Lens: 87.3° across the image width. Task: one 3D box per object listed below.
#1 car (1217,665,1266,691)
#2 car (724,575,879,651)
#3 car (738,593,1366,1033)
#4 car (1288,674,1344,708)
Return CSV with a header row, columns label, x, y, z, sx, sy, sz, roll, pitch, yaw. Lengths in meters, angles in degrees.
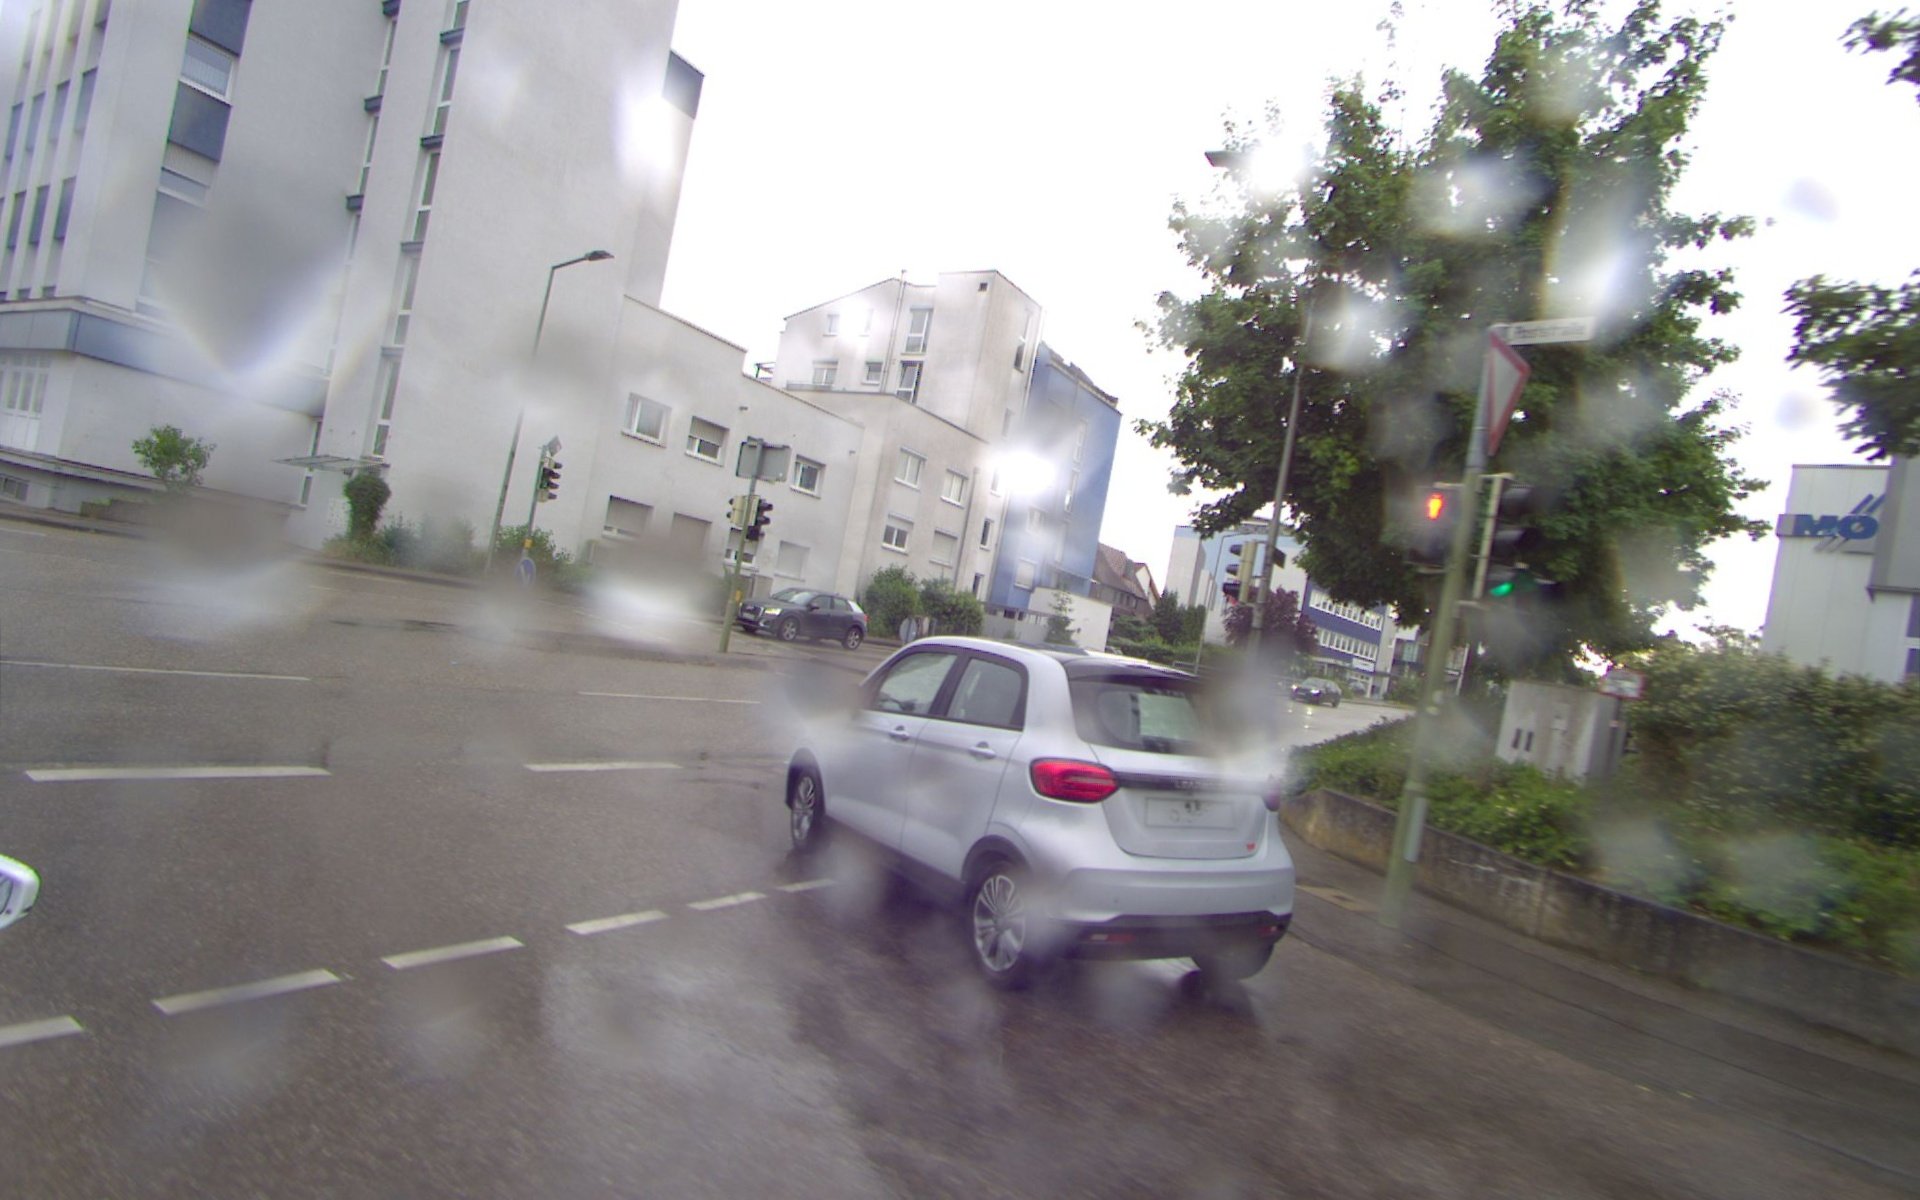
label,x,y,z,sx,sy,sz,roll,pitch,yaw
car,19.358,5.379,69.198,1.636,1.301,3.868,9,-2,41
car,-4.470,0.401,28.842,1.717,1.503,4.134,11,0,40
car,0.180,0.962,6.128,1.678,1.573,3.875,9,-1,-31
car,21.282,5.445,60.000,1.729,1.495,3.988,9,-1,40
